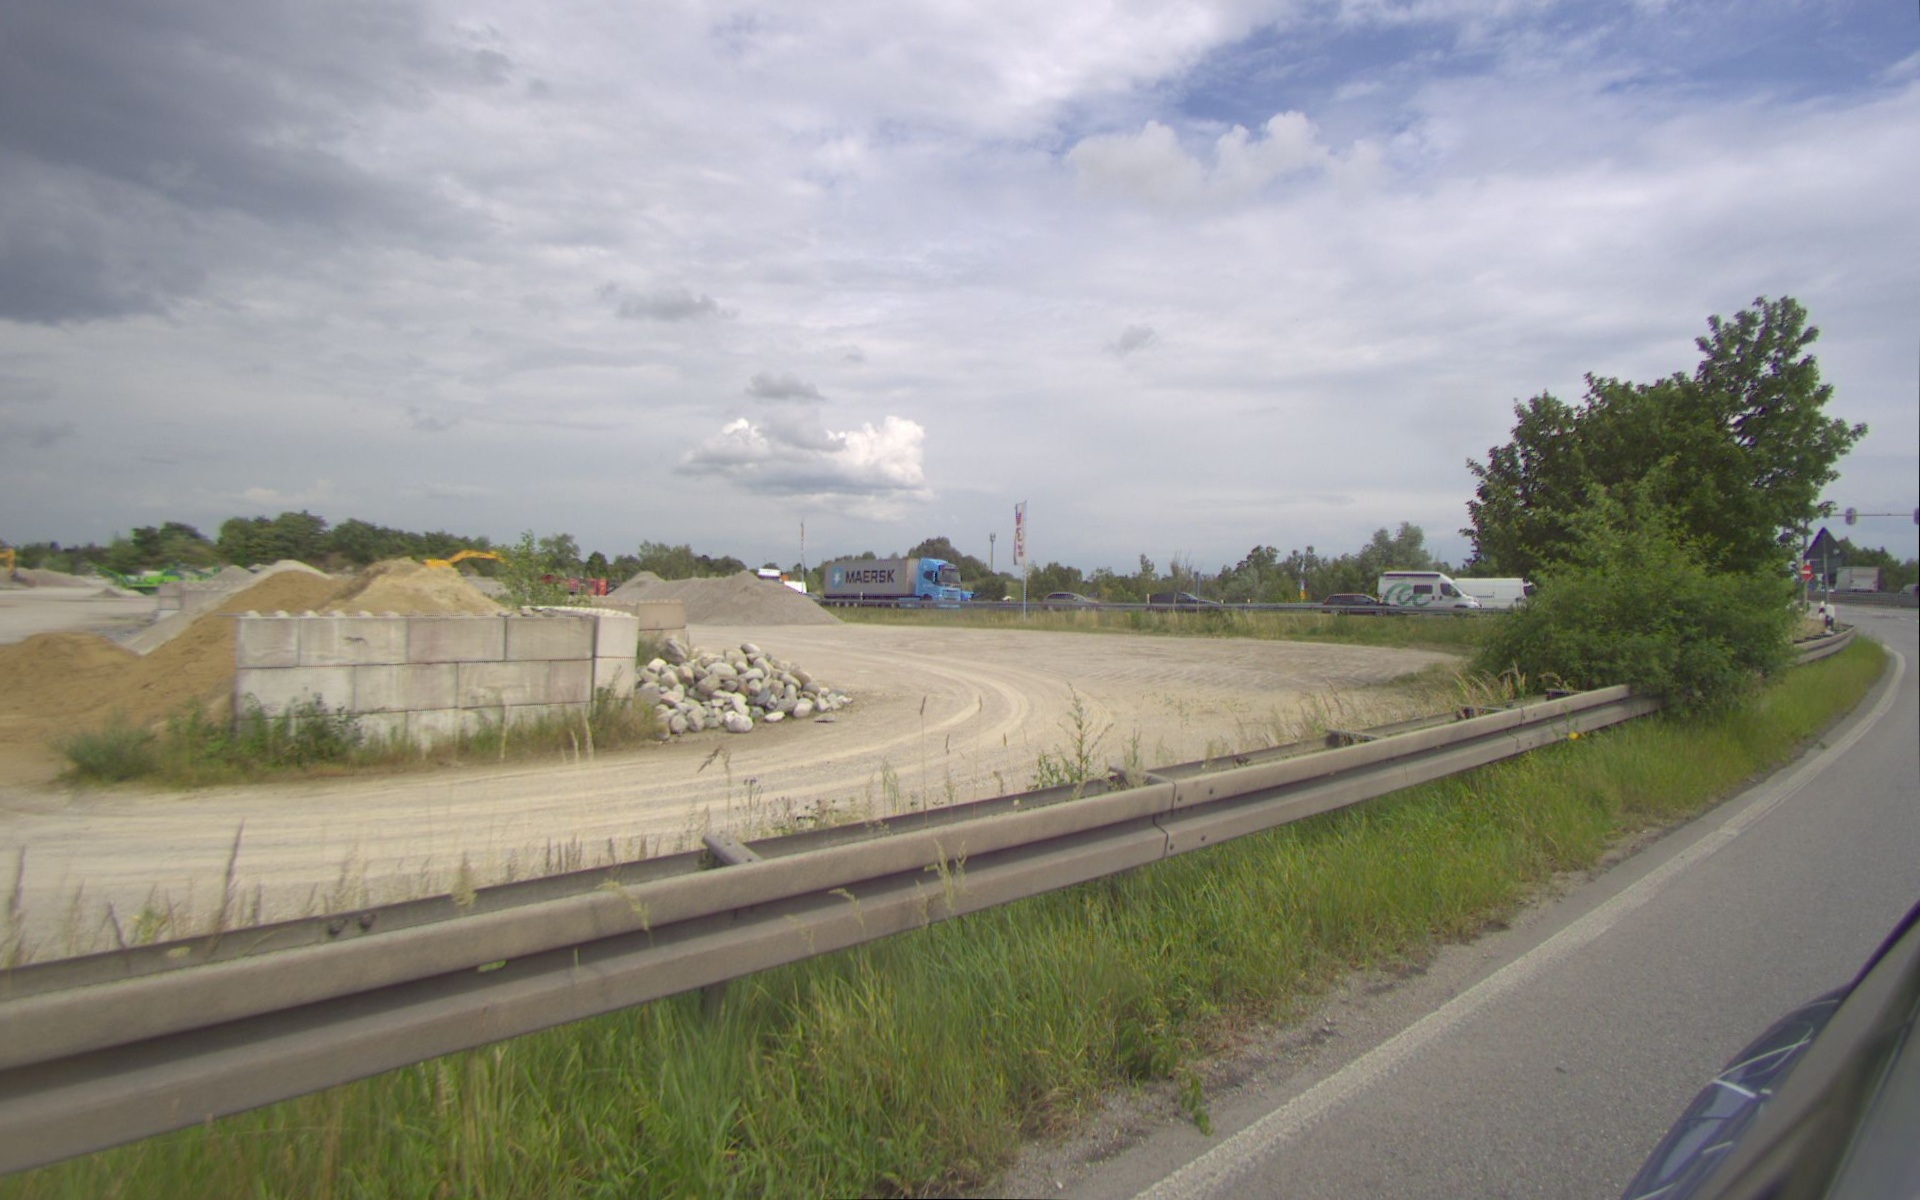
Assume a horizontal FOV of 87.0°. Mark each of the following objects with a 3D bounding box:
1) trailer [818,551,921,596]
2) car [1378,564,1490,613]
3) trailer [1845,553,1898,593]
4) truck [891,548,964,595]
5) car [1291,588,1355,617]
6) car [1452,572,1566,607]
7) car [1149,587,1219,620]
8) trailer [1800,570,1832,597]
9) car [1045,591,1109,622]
[{"bbox_3d":[-7.623,-2.056,83.215,2.350,3.352,11.213,1,-1,-41],"label":"trailer"},{"bbox_3d":[26.682,-0.668,57.076,5.386,2.600,2.428,1,0,36],"label":"car"},{"bbox_3d":[110.846,-3.203,123.205,3.474,4.571,10.807,-1,0,35],"label":"trailer"},{"bbox_3d":[-2.527,-2.116,77.629,5.576,3.347,2.354,-1,-1,44],"label":"truck"},{"bbox_3d":[25.998,0.169,72.484,3.976,2.039,1.906,0,-1,36],"label":"car"},{"bbox_3d":[33.268,-0.603,61.425,5.861,2.039,2.034,0,-1,36],"label":"car"},{"bbox_3d":[14.440,0.201,65.221,3.976,2.039,1.906,1,0,36],"label":"car"},{"bbox_3d":[152.590,-2.876,180.472,3.116,4.691,8.725,-2,-1,32],"label":"trailer"},{"bbox_3d":[8.110,0.464,70.144,3.976,2.039,1.906,1,0,36],"label":"car"}]
